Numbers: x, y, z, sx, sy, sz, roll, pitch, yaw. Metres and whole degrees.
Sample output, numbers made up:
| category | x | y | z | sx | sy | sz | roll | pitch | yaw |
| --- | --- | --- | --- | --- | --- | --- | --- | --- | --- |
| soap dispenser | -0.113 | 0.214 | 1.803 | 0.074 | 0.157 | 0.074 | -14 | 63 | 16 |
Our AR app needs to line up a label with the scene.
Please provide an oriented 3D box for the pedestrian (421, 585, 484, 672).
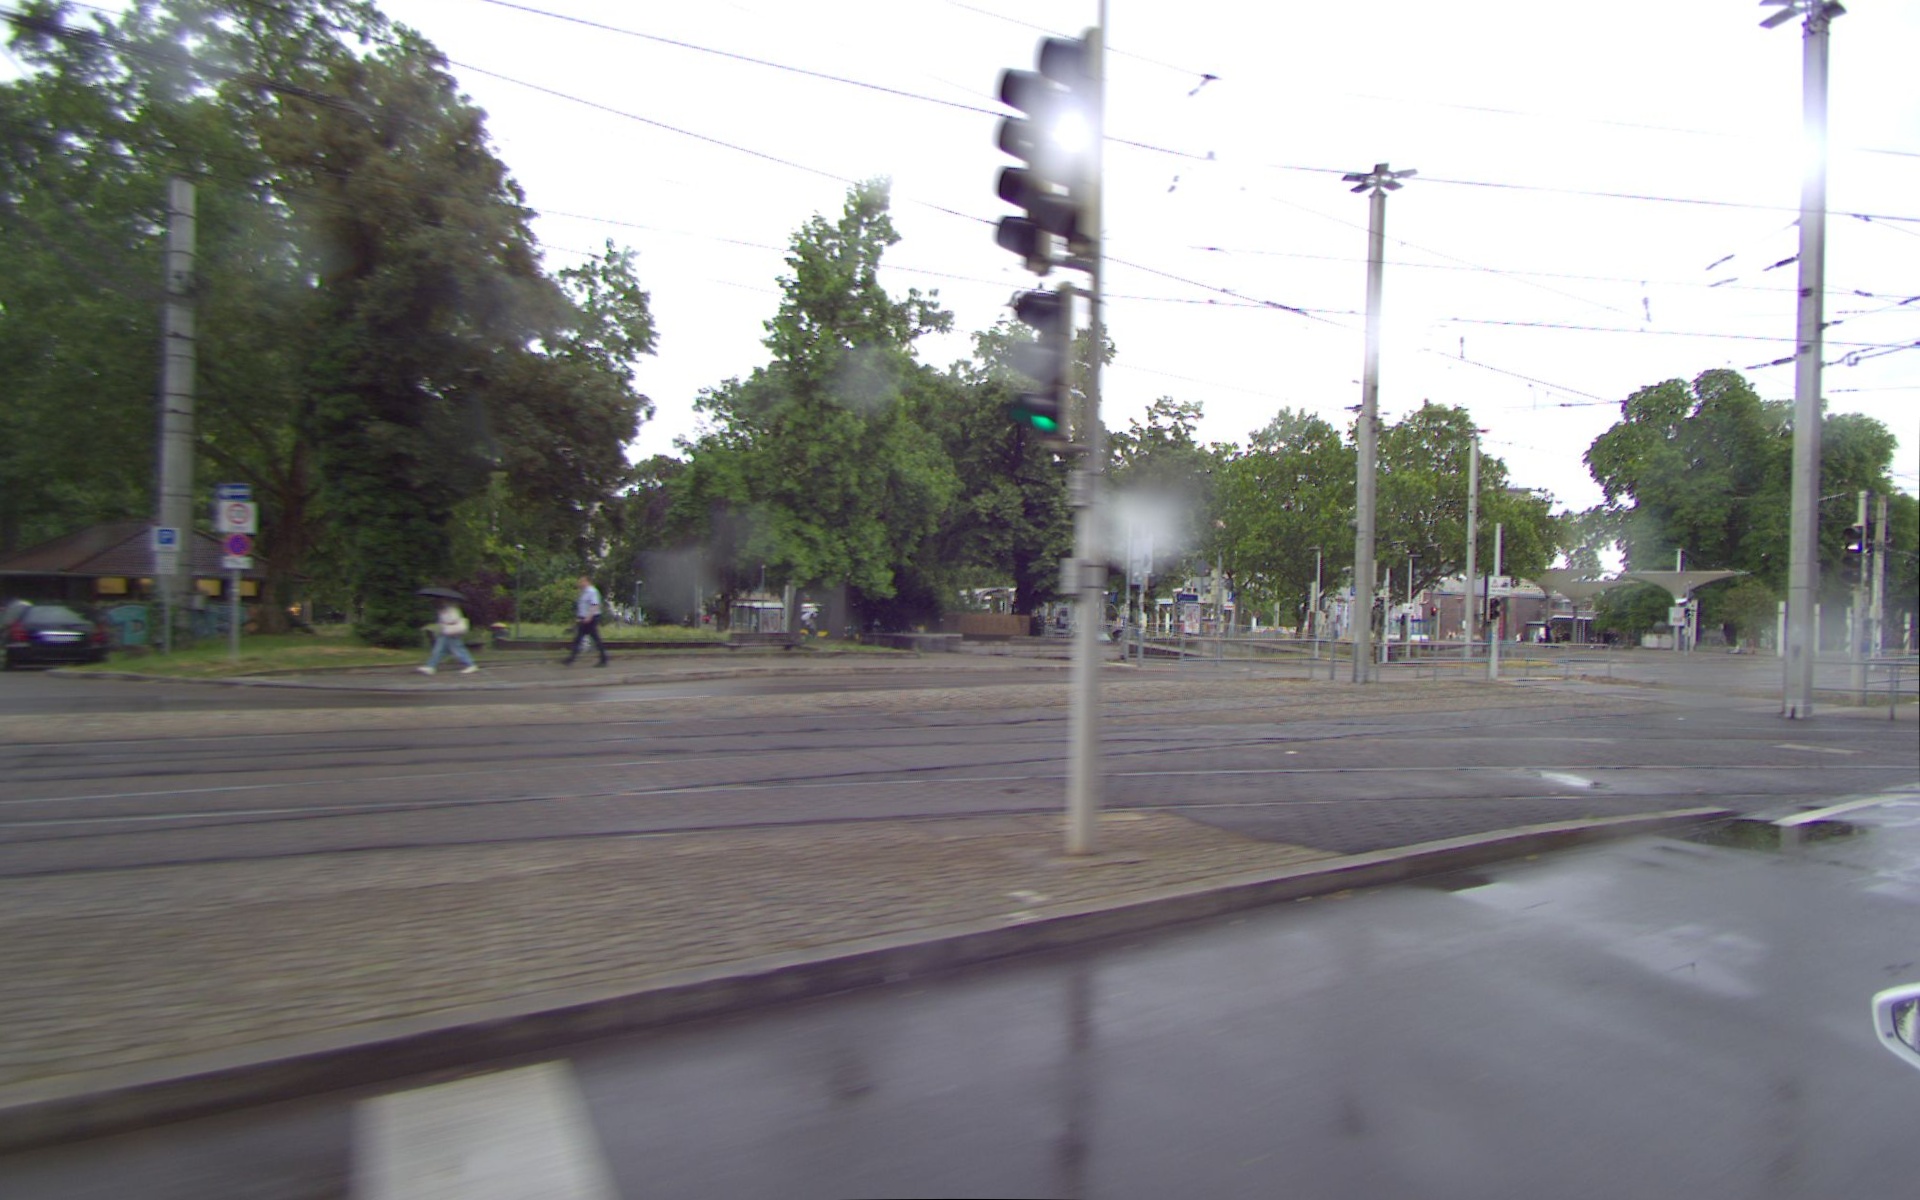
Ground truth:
| category | x | y | z | sx | sy | sz | roll | pitch | yaw |
| --- | --- | --- | --- | --- | --- | --- | --- | --- | --- |
| pedestrian | -9.923 | 0.541 | 19.625 | 0.905 | 1.615 | 0.992 | 1 | 2 | -37 |

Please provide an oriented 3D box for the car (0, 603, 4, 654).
| category | x | y | z | sx | sy | sz | roll | pitch | yaw |
| --- | --- | --- | --- | --- | --- | --- | --- | --- | --- |
| car | -29.816 | 0.822 | 29.590 | 3.480 | 1.467 | 1.698 | 0 | -1 | 34 |

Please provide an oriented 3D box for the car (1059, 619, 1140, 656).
| category | x | y | z | sx | sy | sz | roll | pitch | yaw |
| --- | --- | --- | --- | --- | --- | --- | --- | --- | --- |
| car | 6.943 | 1.851 | 50.337 | 1.978 | 1.728 | 3.966 | 1 | -1 | -32 |

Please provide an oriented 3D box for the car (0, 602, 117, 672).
| category | x | y | z | sx | sy | sz | roll | pitch | yaw |
| --- | --- | --- | --- | --- | --- | --- | --- | --- | --- |
| car | -20.684 | 0.797 | 22.770 | 3.484 | 1.467 | 1.696 | -1 | -1 | 38 |

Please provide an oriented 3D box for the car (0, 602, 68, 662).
| category | x | y | z | sx | sy | sz | roll | pitch | yaw |
| --- | --- | --- | --- | --- | --- | --- | --- | --- | --- |
| car | -24.871 | 0.816 | 26.128 | 3.480 | 1.467 | 1.698 | 0 | -1 | 34 |

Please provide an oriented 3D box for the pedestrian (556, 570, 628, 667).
| category | x | y | z | sx | sy | sz | roll | pitch | yaw |
| --- | --- | --- | --- | --- | --- | --- | --- | --- | --- |
| pedestrian | -7.476 | 0.359 | 20.412 | 0.899 | 1.888 | 0.999 | 3 | 2 | 37 |
